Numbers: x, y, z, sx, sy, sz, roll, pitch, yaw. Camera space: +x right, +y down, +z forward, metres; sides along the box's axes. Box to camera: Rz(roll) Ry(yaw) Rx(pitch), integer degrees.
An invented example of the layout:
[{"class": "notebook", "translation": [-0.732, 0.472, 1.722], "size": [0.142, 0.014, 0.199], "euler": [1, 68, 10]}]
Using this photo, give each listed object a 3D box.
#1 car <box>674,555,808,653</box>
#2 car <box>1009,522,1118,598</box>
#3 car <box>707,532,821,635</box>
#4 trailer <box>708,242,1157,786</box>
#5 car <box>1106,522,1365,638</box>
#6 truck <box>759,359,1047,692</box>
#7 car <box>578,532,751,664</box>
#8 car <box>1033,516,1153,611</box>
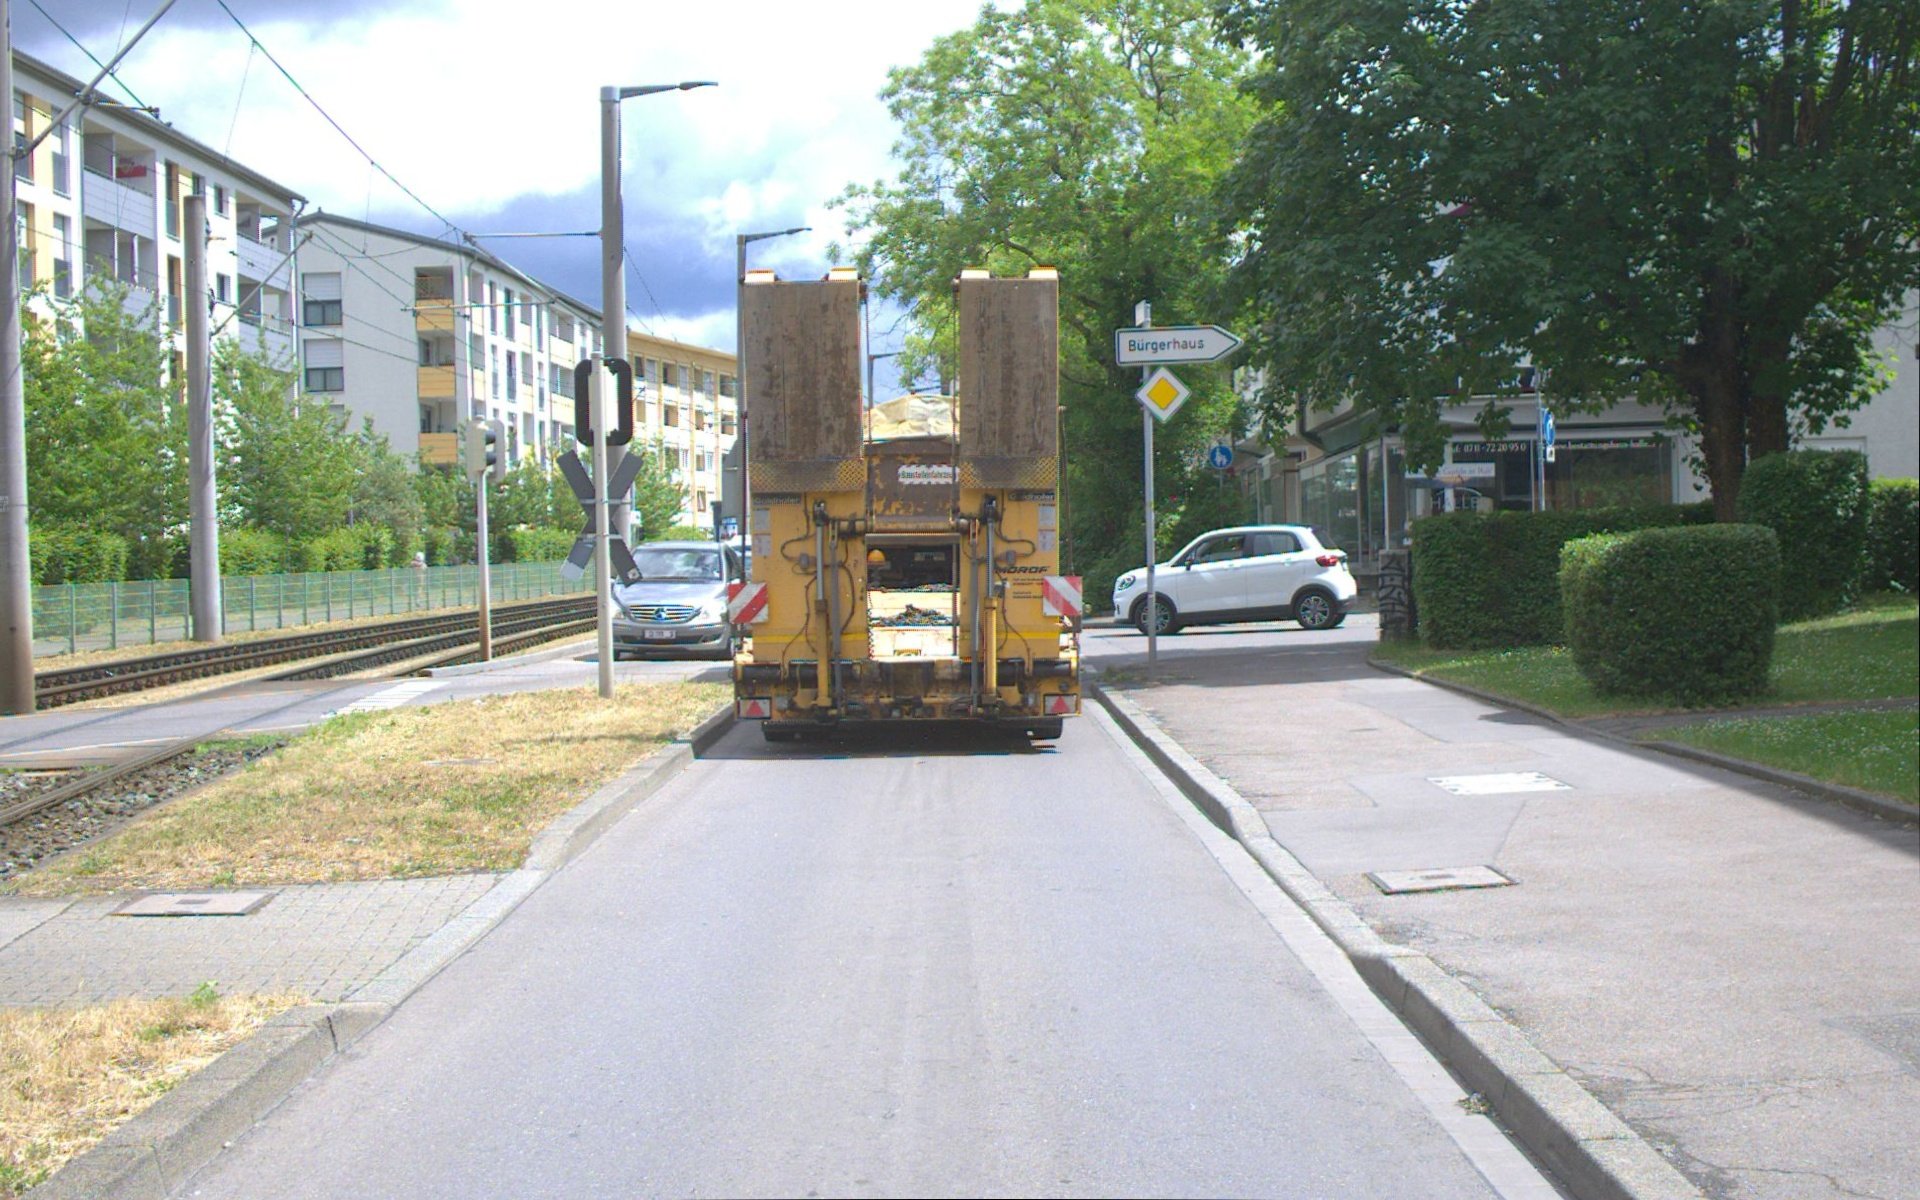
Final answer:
[{"class": "car", "translation": [-3.326, 0.047, 52.786], "size": [1.602, 1.376, 3.956], "euler": [-2, 0, 2]}, {"class": "car", "translation": [2.089, -0.840, 70.519], "size": [1.993, 1.382, 4.001], "euler": [-3, 2, -1]}, {"class": "car", "translation": [-3.484, -0.306, 61.558], "size": [1.602, 1.726, 3.938], "euler": [-2, 0, 2]}, {"class": "trailer", "translation": [-0.475, -0.808, 30.392], "size": [3.050, 3.759, 11.614], "euler": [-3, 2, -3]}, {"class": "car", "translation": [4.143, -0.308, 51.418], "size": [3.600, 1.579, 1.999], "euler": [-2, 1, 12]}, {"class": "truck", "translation": [-0.782, -0.901, 39.532], "size": [2.833, 3.318, 7.986], "euler": [-3, 2, -3]}, {"class": "car", "translation": [-3.988, -0.040, 47.018], "size": [1.802, 1.646, 4.131], "euler": [-2, 0, 2]}, {"class": "car", "translation": [2.505, -0.723, 65.579], "size": [1.993, 1.612, 4.001], "euler": [-3, 2, -1]}]
